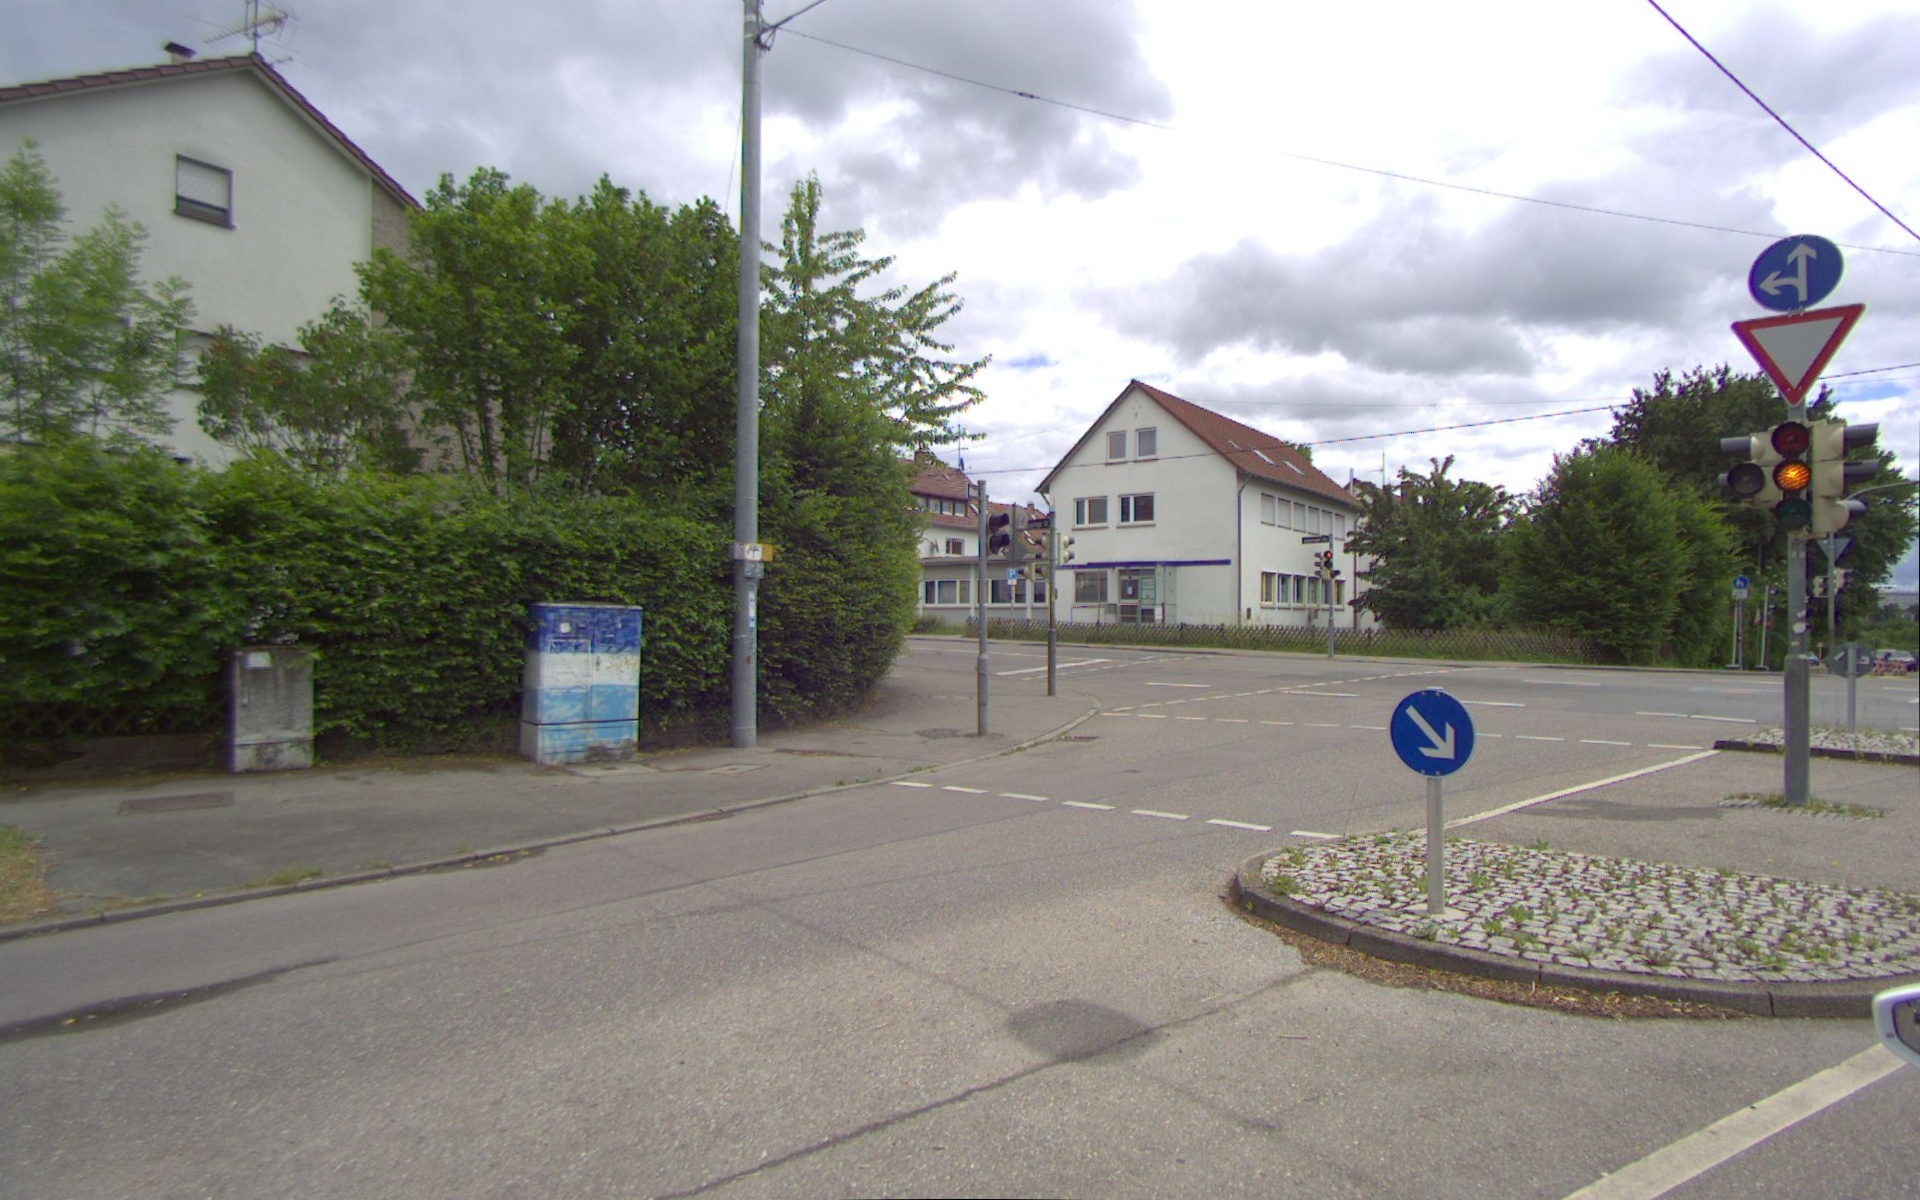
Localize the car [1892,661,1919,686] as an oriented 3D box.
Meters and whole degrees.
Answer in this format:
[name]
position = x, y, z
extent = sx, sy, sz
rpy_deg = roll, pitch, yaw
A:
[car]
position = 71.899, 5.564, 75.995
extent = 1.972, 1.773, 3.978
rpy_deg = -1, -2, 42
